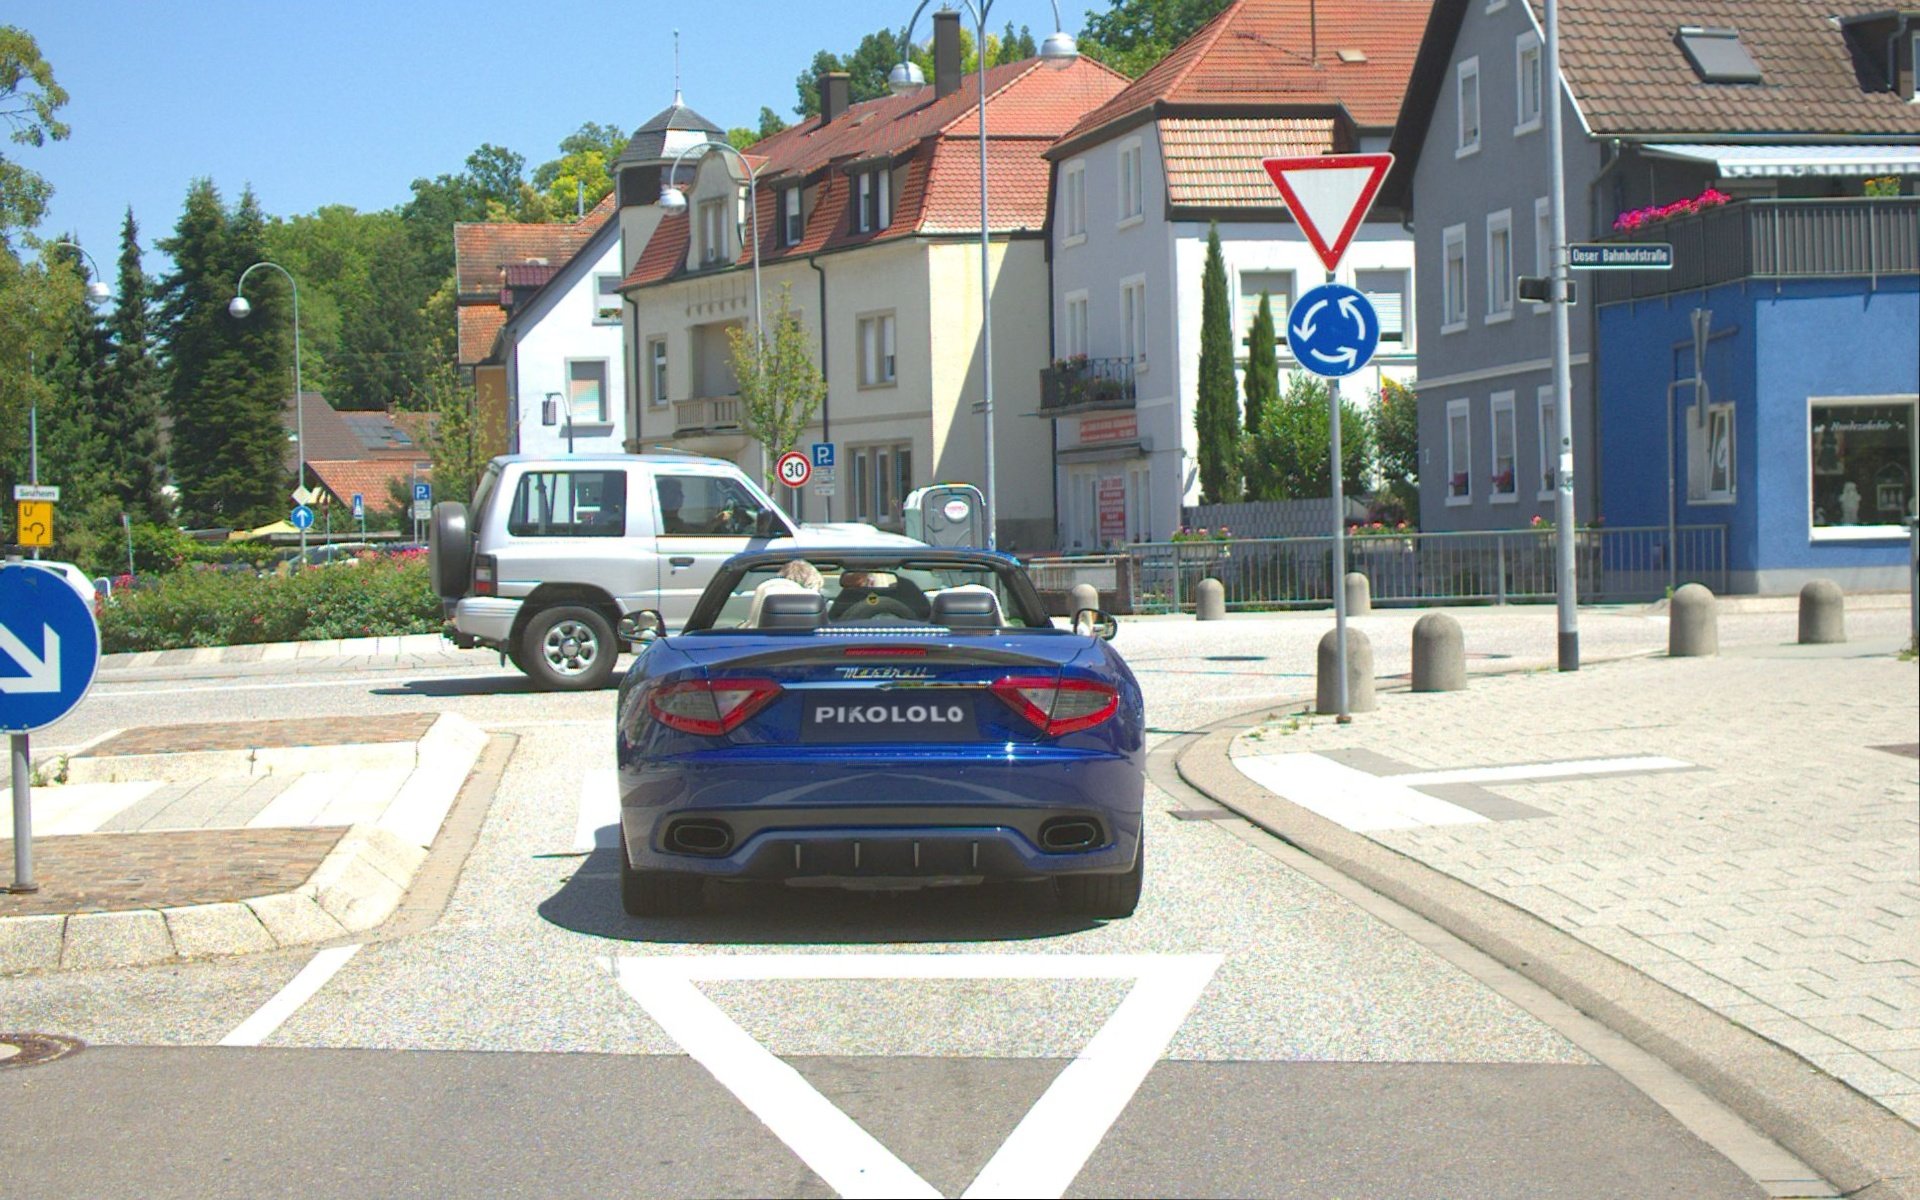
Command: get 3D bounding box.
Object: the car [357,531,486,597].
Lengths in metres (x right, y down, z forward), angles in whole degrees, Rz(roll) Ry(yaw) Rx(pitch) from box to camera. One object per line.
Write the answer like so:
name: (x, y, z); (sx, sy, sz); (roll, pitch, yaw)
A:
car: (-14.158, -0.926, 90.279); (1.850, 1.582, 4.000); (-3, 1, -32)

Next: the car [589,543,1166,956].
car: (-0.291, 0.461, 13.592); (1.910, 1.356, 4.286); (0, 1, 0)

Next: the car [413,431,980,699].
car: (-2.112, -0.314, 27.133); (4.215, 1.868, 1.764); (-3, 3, -11)

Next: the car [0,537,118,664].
car: (-12.048, 0.053, 41.109); (3.460, 1.445, 1.580); (-3, 1, -35)

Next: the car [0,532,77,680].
car: (-10.041, 0.093, 33.044); (1.993, 1.325, 4.201); (-3, 1, -29)
